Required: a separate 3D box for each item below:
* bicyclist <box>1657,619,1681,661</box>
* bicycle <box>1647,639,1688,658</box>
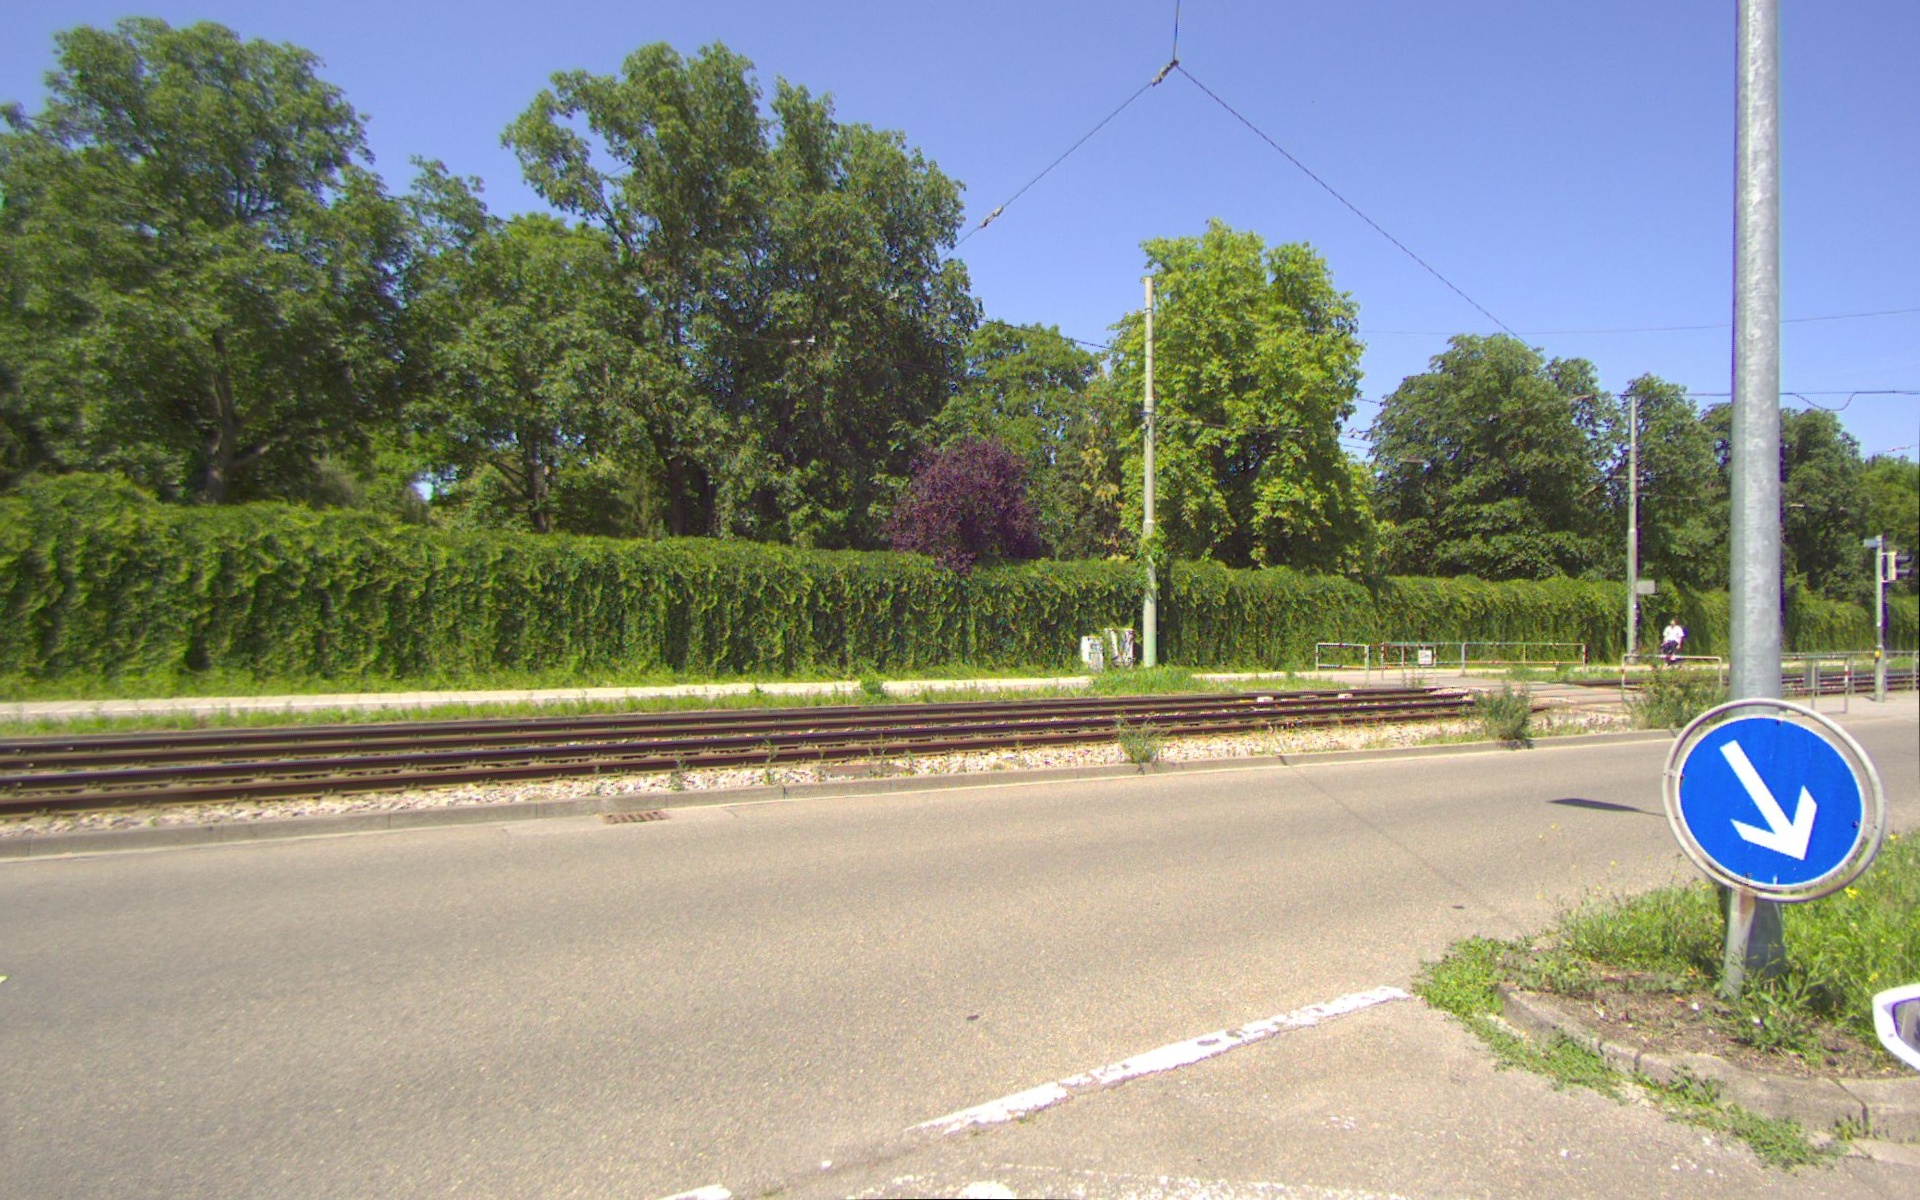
[{"bbox_3d":[25.954,1.461,36.763,0.554,1.497,0.555,1,-1,-29],"label":"bicyclist"},{"bbox_3d":[25.870,1.774,36.714,1.699,0.656,0.558,1,-1,-29],"label":"bicycle"}]
